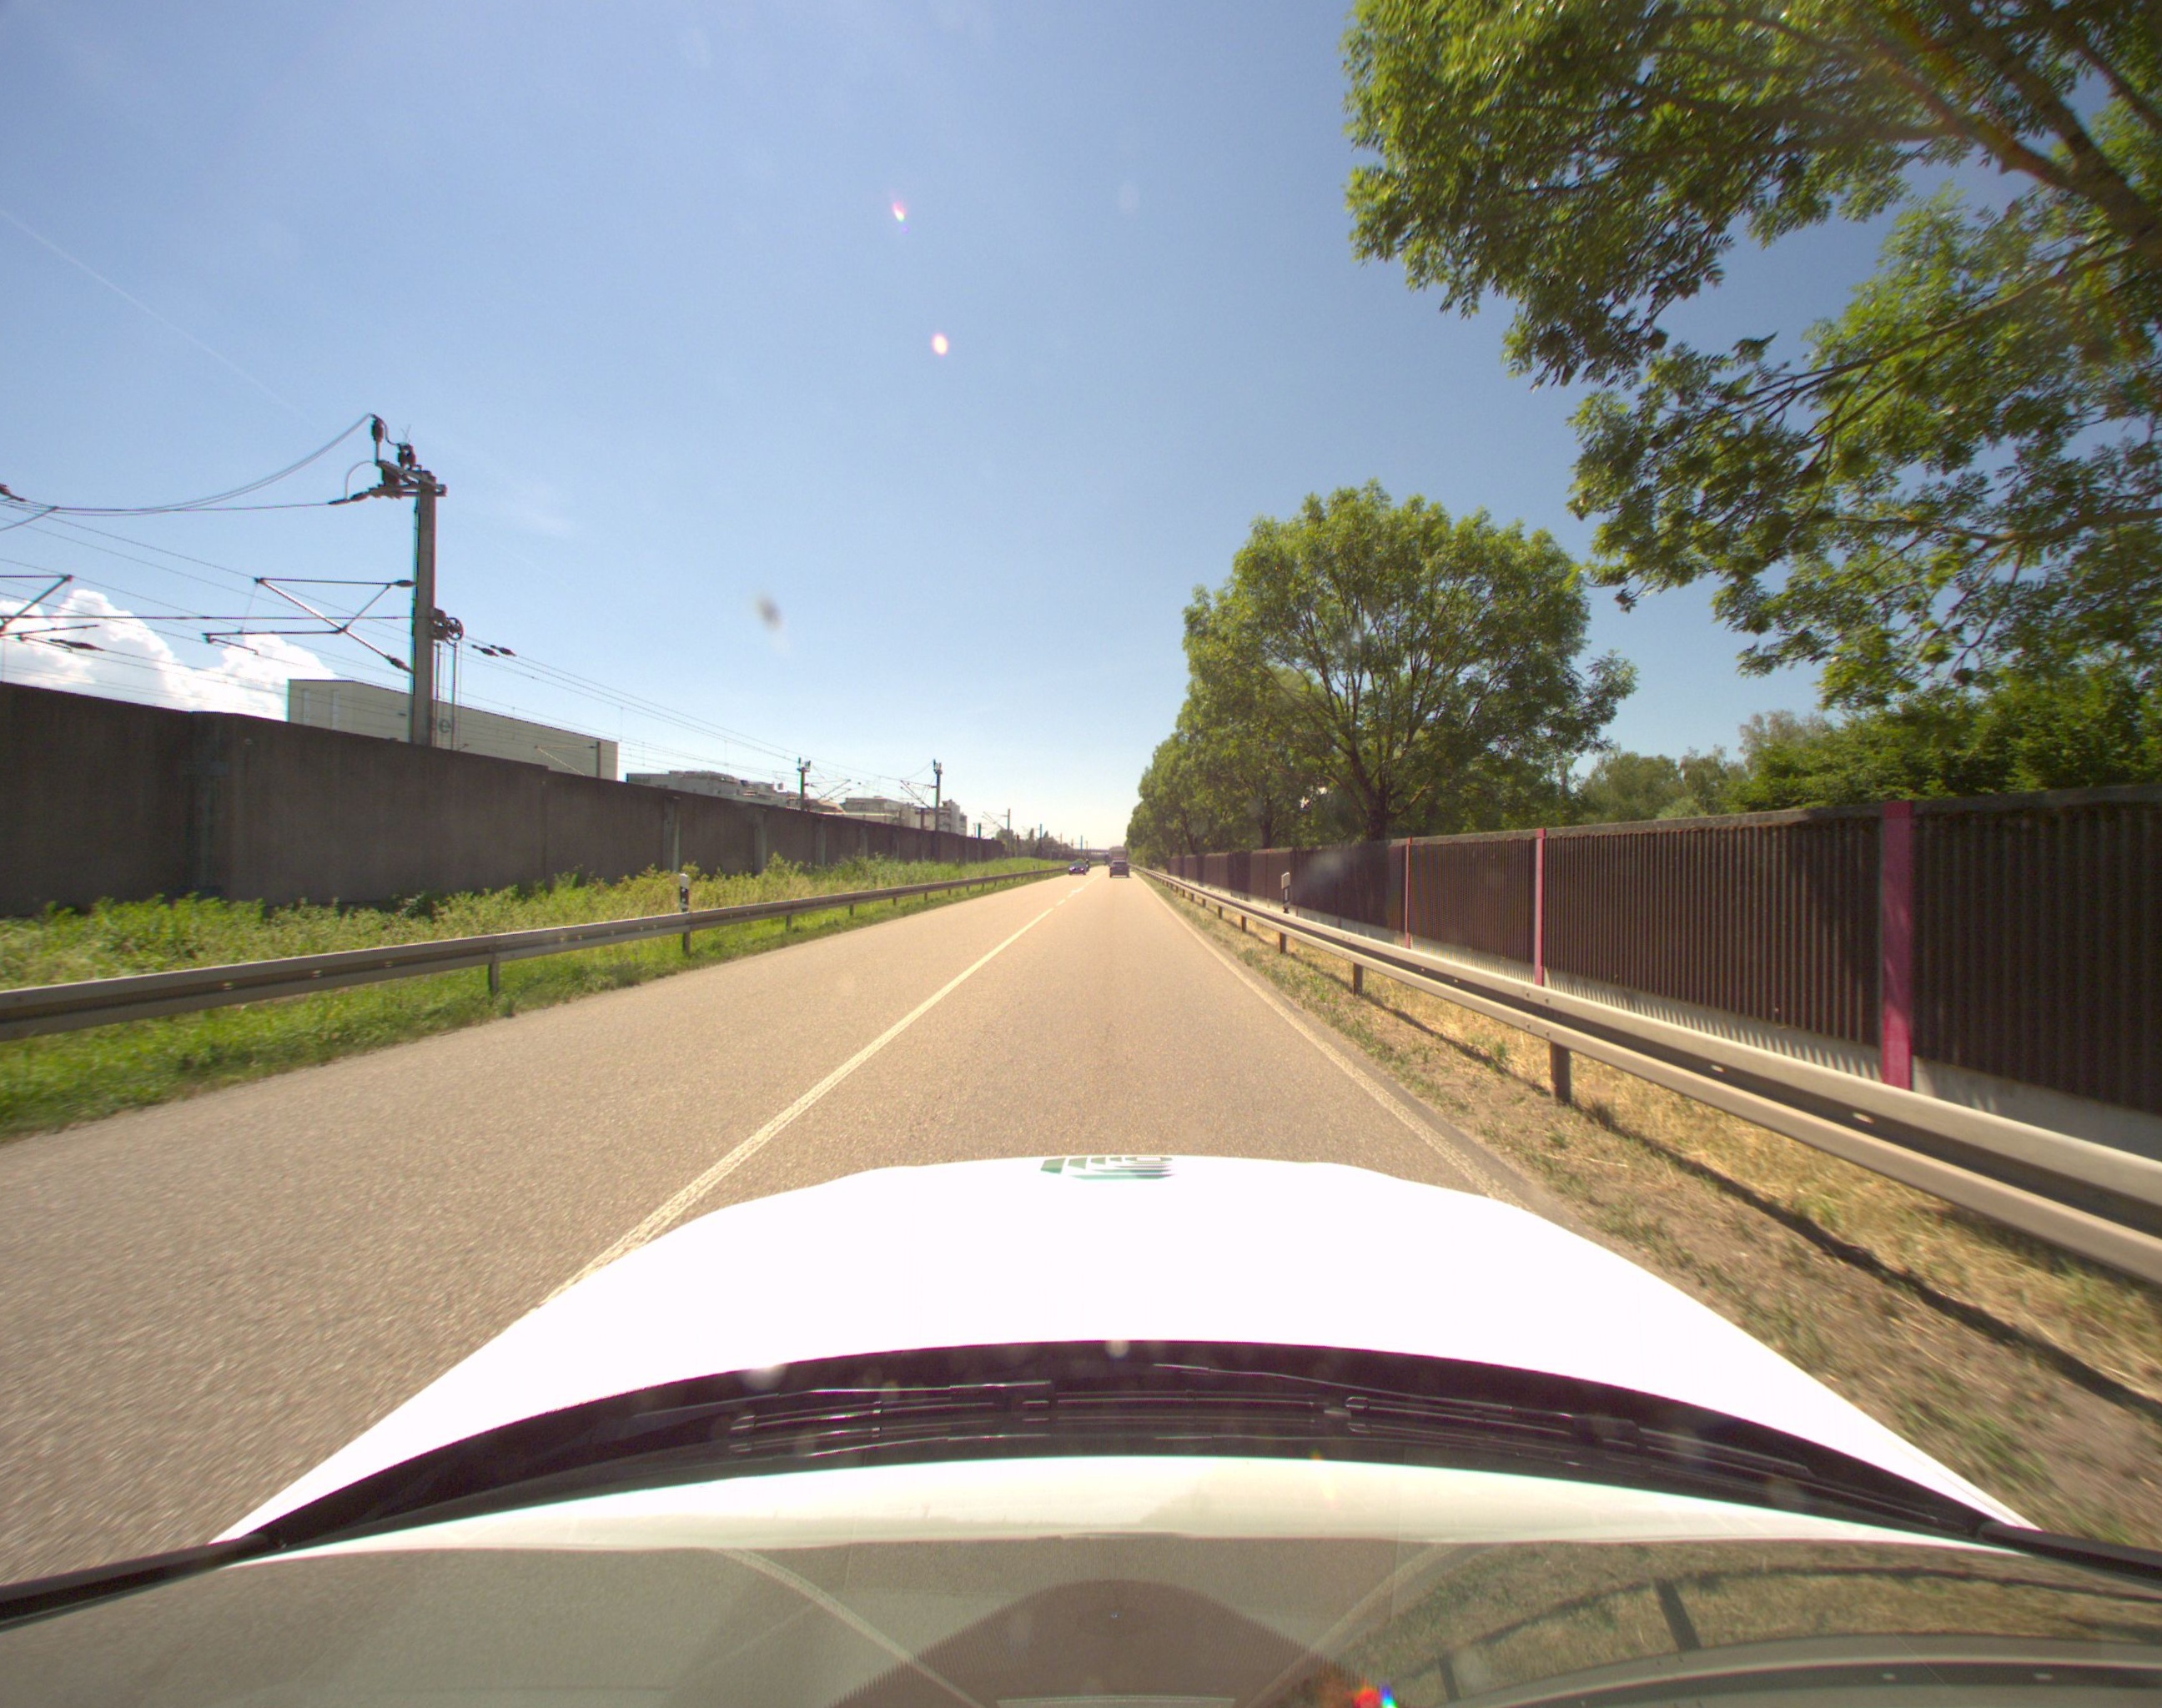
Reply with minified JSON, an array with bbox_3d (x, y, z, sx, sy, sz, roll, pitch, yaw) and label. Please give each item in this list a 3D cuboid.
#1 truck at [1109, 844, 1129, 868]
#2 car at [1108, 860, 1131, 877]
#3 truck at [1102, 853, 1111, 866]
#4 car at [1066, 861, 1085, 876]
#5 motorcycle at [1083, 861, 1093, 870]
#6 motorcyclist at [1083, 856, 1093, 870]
[{"bbox_3d":[5.660,0.397,120.933,2.759,3.425,10.826,0,-1,3],"label":"truck"},{"bbox_3d":[3.481,1.326,74.537,1.987,1.508,4.000,0,0,0],"label":"car"},{"bbox_3d":[8.184,1.690,261.422,2.786,3.978,10.506,0,0,3],"label":"truck"},{"bbox_3d":[-0.608,1.567,88.717,1.986,1.508,4.001,0,-1,1],"label":"car"},{"bbox_3d":[0.937,1.545,109.124,1.232,1.072,3.131,0,-1,2],"label":"motorcycle"},{"bbox_3d":[0.927,1.150,109.048,1.249,1.864,1.246,0,-1,2],"label":"motorcyclist"}]
